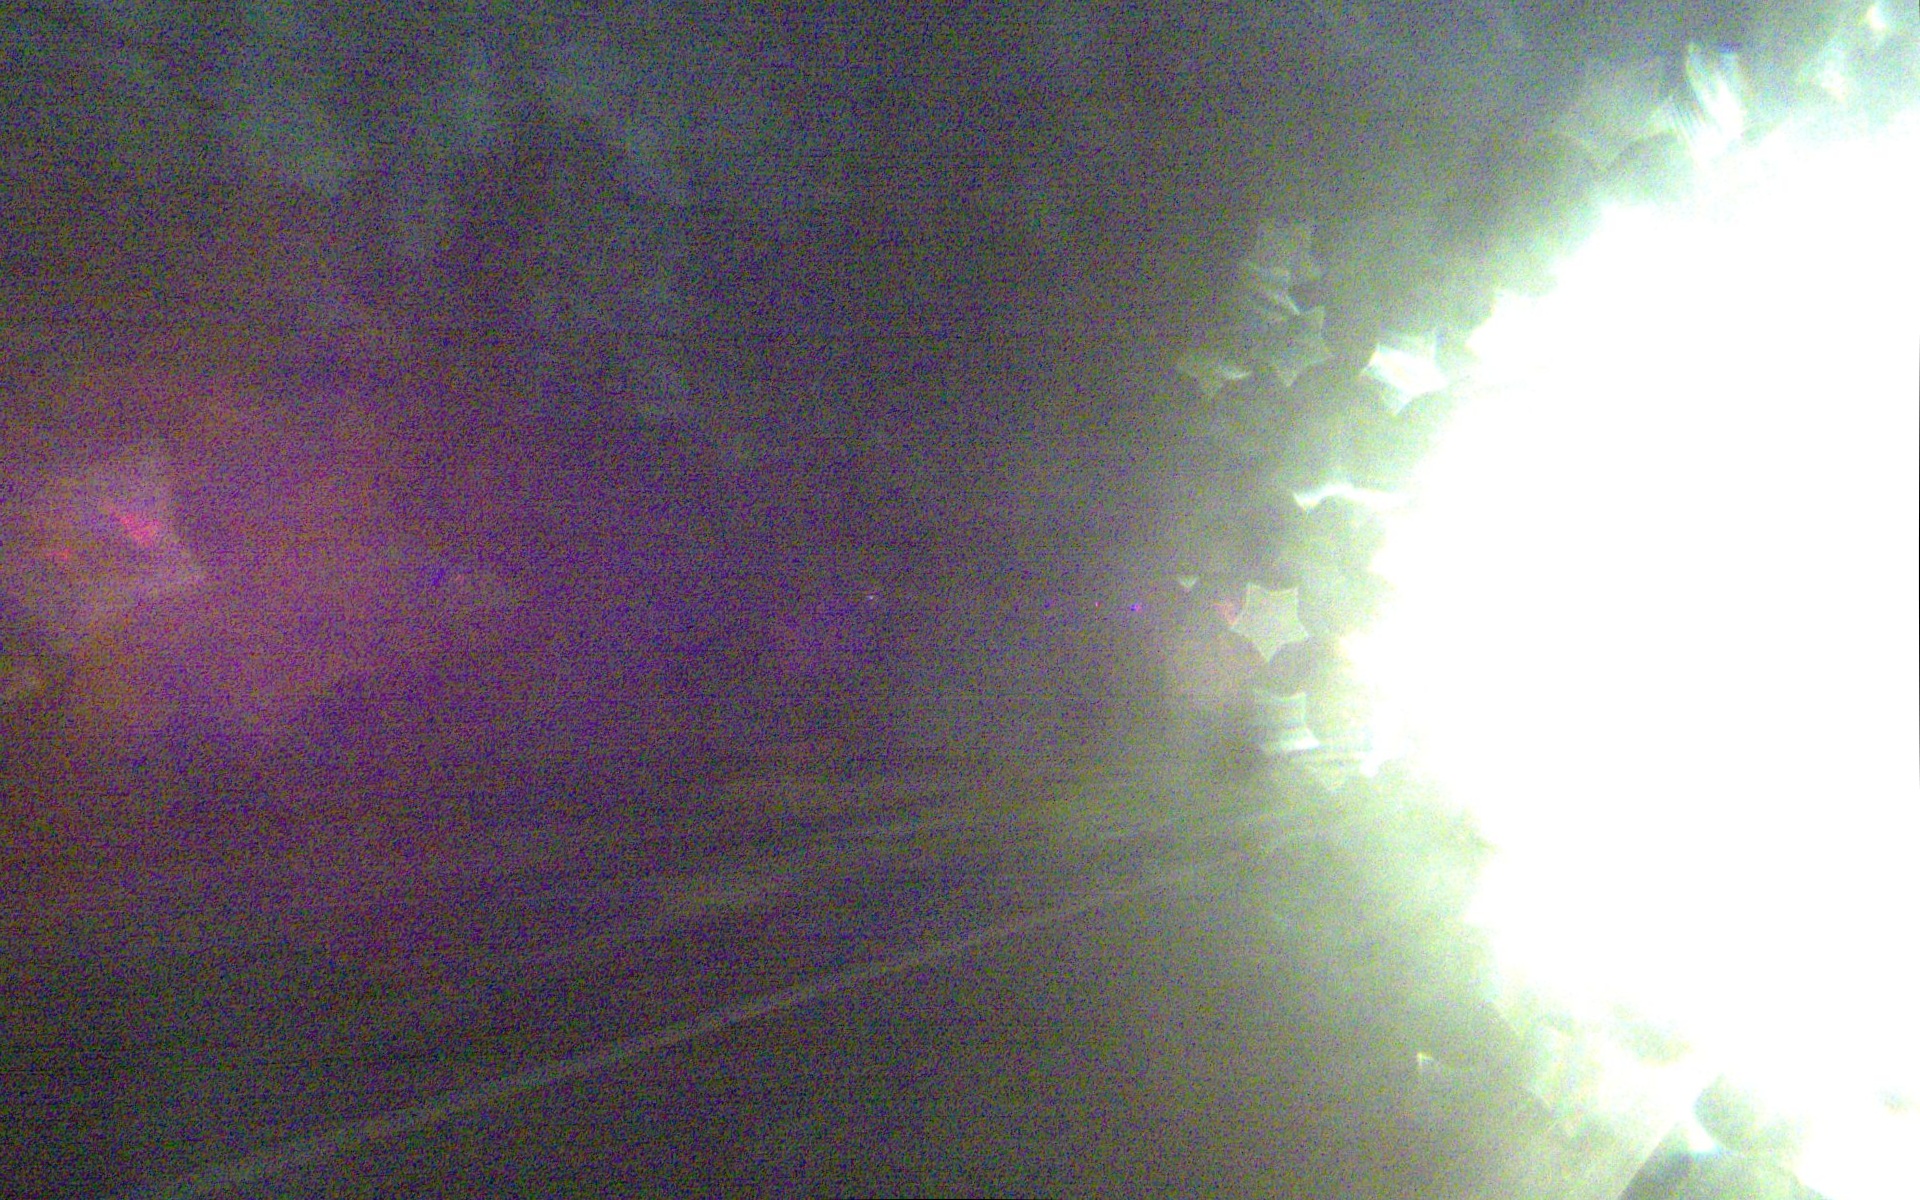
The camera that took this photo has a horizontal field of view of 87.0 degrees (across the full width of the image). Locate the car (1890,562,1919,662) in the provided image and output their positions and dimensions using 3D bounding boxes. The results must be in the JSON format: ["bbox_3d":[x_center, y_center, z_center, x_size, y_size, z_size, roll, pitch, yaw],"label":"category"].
[{"bbox_3d":[22.335,0.293,22.750,4.388,2.131,1.752,1,1,-43],"label":"car"}]
